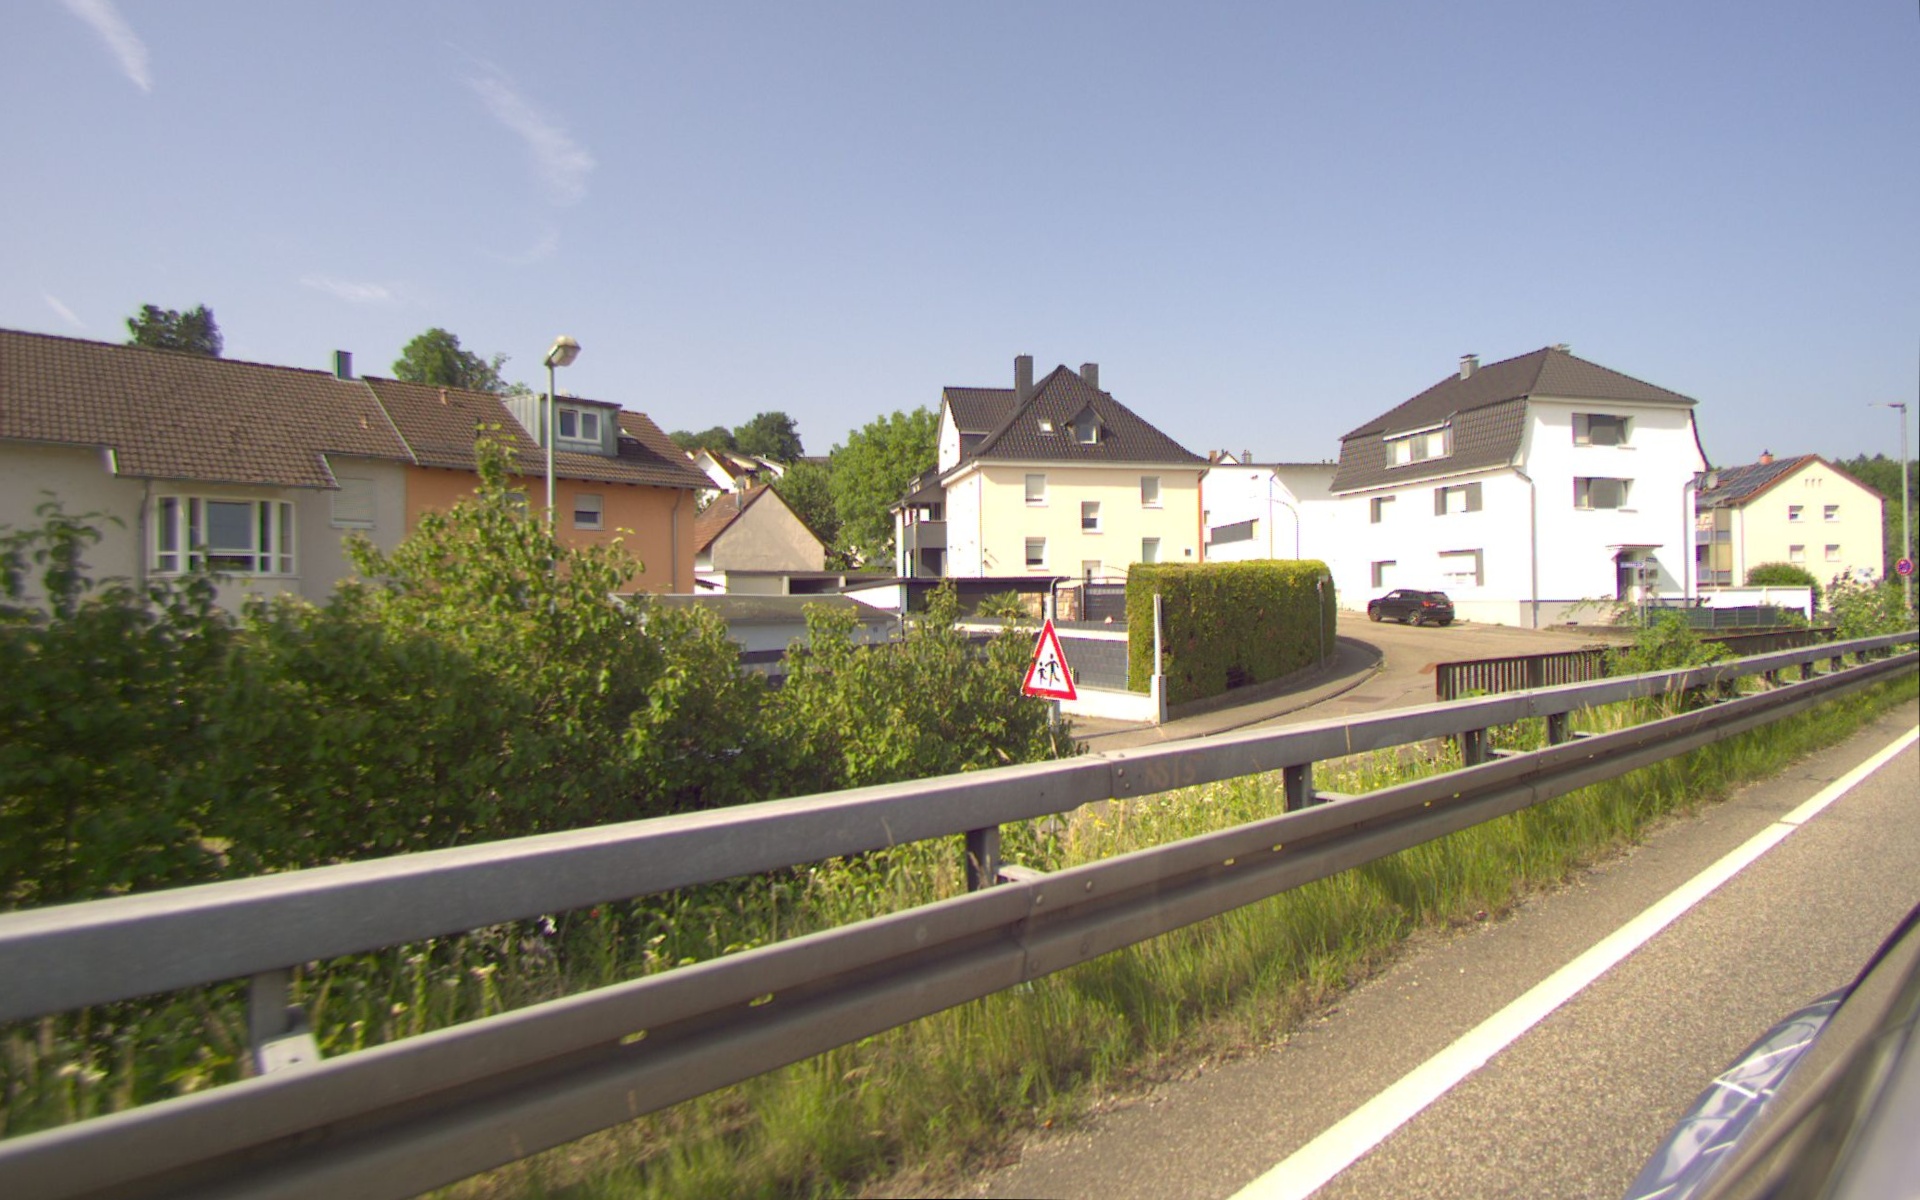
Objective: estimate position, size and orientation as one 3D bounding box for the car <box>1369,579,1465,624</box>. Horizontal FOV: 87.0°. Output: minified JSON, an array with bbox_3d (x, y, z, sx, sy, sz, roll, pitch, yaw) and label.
[{"bbox_3d":[20.529,0.015,45.638,1.959,1.683,4.010,-2,4,-12],"label":"car"}]
